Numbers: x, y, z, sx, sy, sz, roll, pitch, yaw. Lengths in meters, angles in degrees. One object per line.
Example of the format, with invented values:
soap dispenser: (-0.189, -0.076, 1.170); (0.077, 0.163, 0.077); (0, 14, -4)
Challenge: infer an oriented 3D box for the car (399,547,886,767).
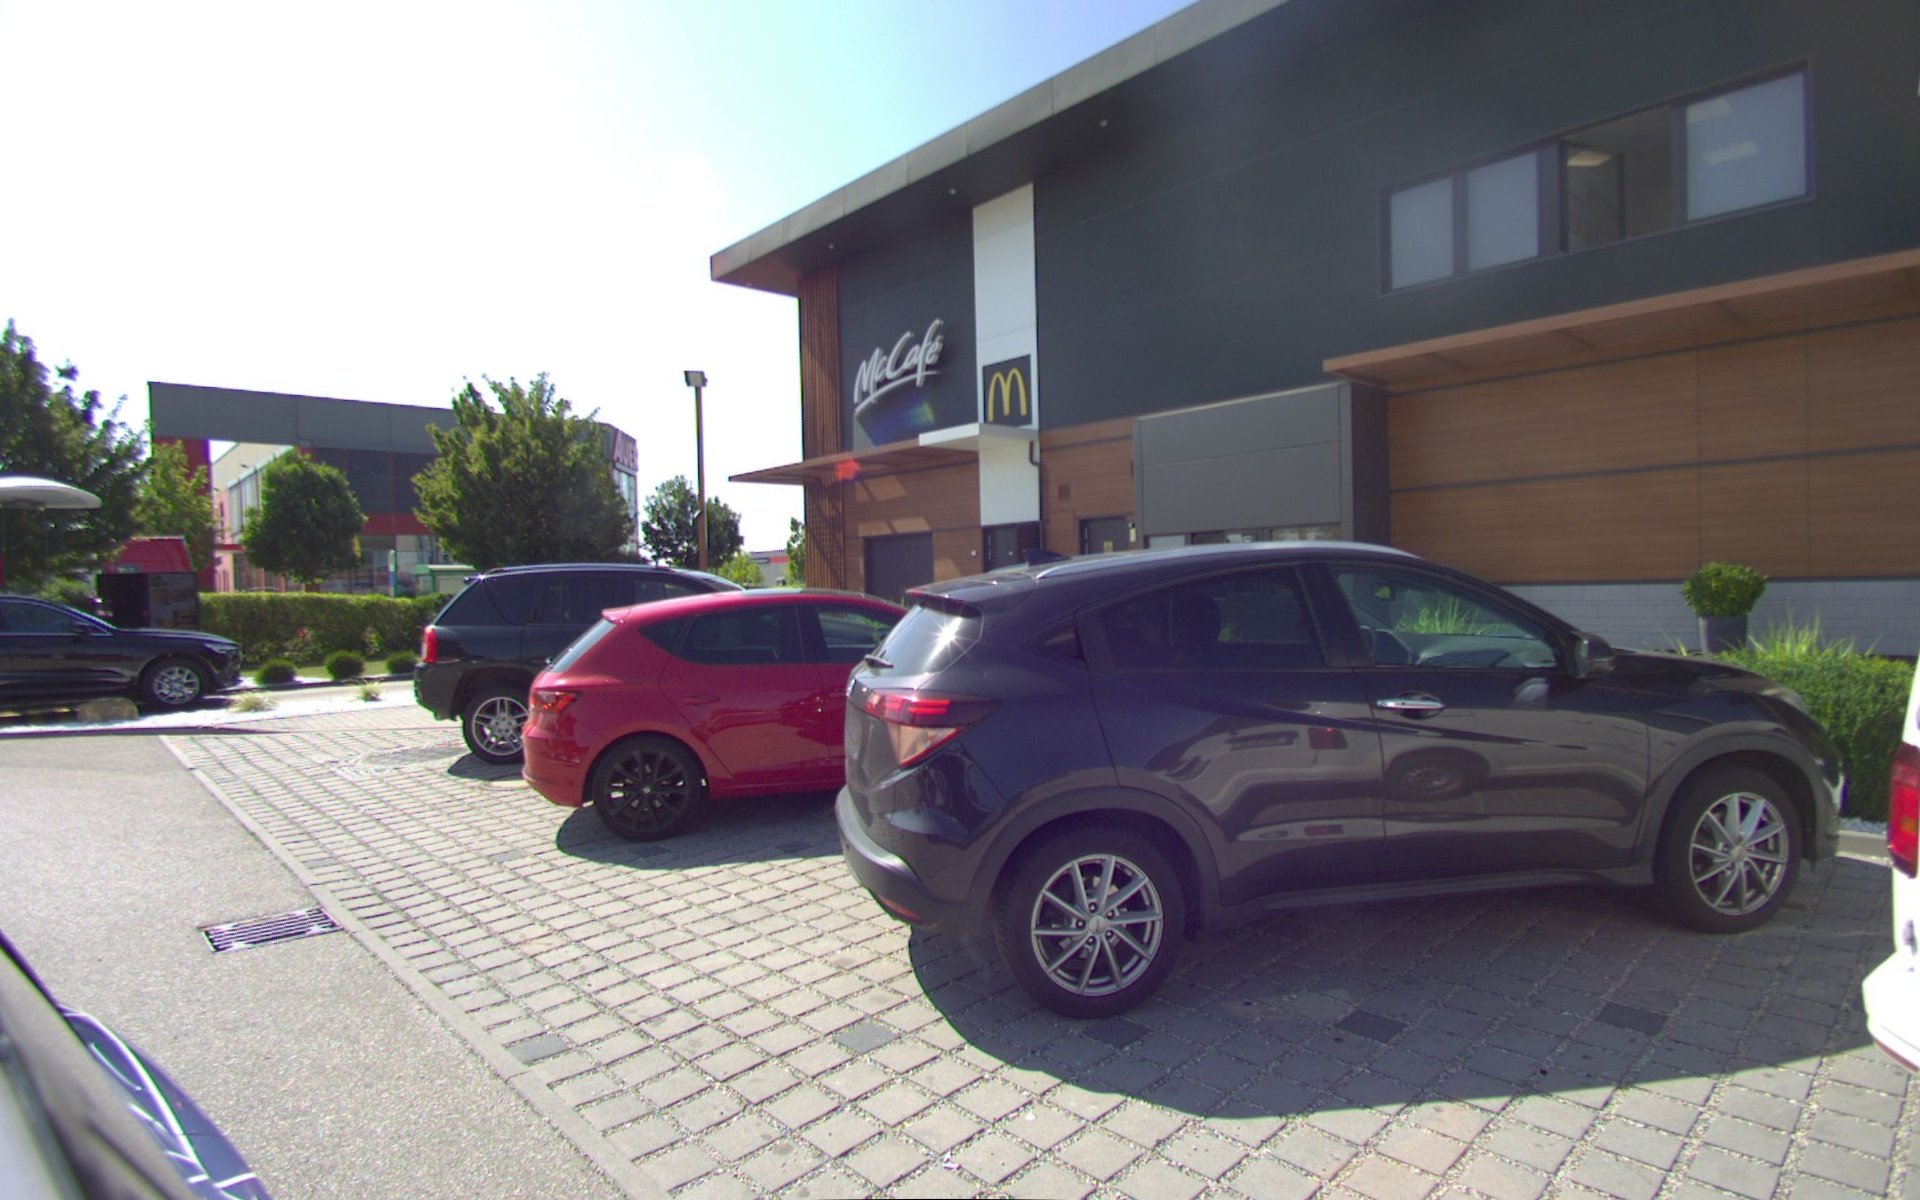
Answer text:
car: (-2.723, 0.457, 9.389); (3.978, 1.718, 1.677); (-2, 1, -5)

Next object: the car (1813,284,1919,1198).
car: (4.131, 0.261, 1.680); (4.081, 1.936, 1.761); (-1, 0, -6)

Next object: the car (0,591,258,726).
car: (-12.440, 0.751, 13.321); (1.926, 1.642, 4.990); (-1, 0, 45)

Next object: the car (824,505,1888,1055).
car: (1.401, 0.513, 4.278); (3.782, 1.644, 1.762); (-1, 0, -11)

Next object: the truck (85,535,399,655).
truck: (-25.986, -0.213, 37.033); (8.993, 3.895, 3.213); (-1, 0, -43)

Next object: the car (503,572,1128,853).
car: (-0.945, 0.615, 6.919); (3.709, 1.455, 1.680); (-2, 0, -15)
